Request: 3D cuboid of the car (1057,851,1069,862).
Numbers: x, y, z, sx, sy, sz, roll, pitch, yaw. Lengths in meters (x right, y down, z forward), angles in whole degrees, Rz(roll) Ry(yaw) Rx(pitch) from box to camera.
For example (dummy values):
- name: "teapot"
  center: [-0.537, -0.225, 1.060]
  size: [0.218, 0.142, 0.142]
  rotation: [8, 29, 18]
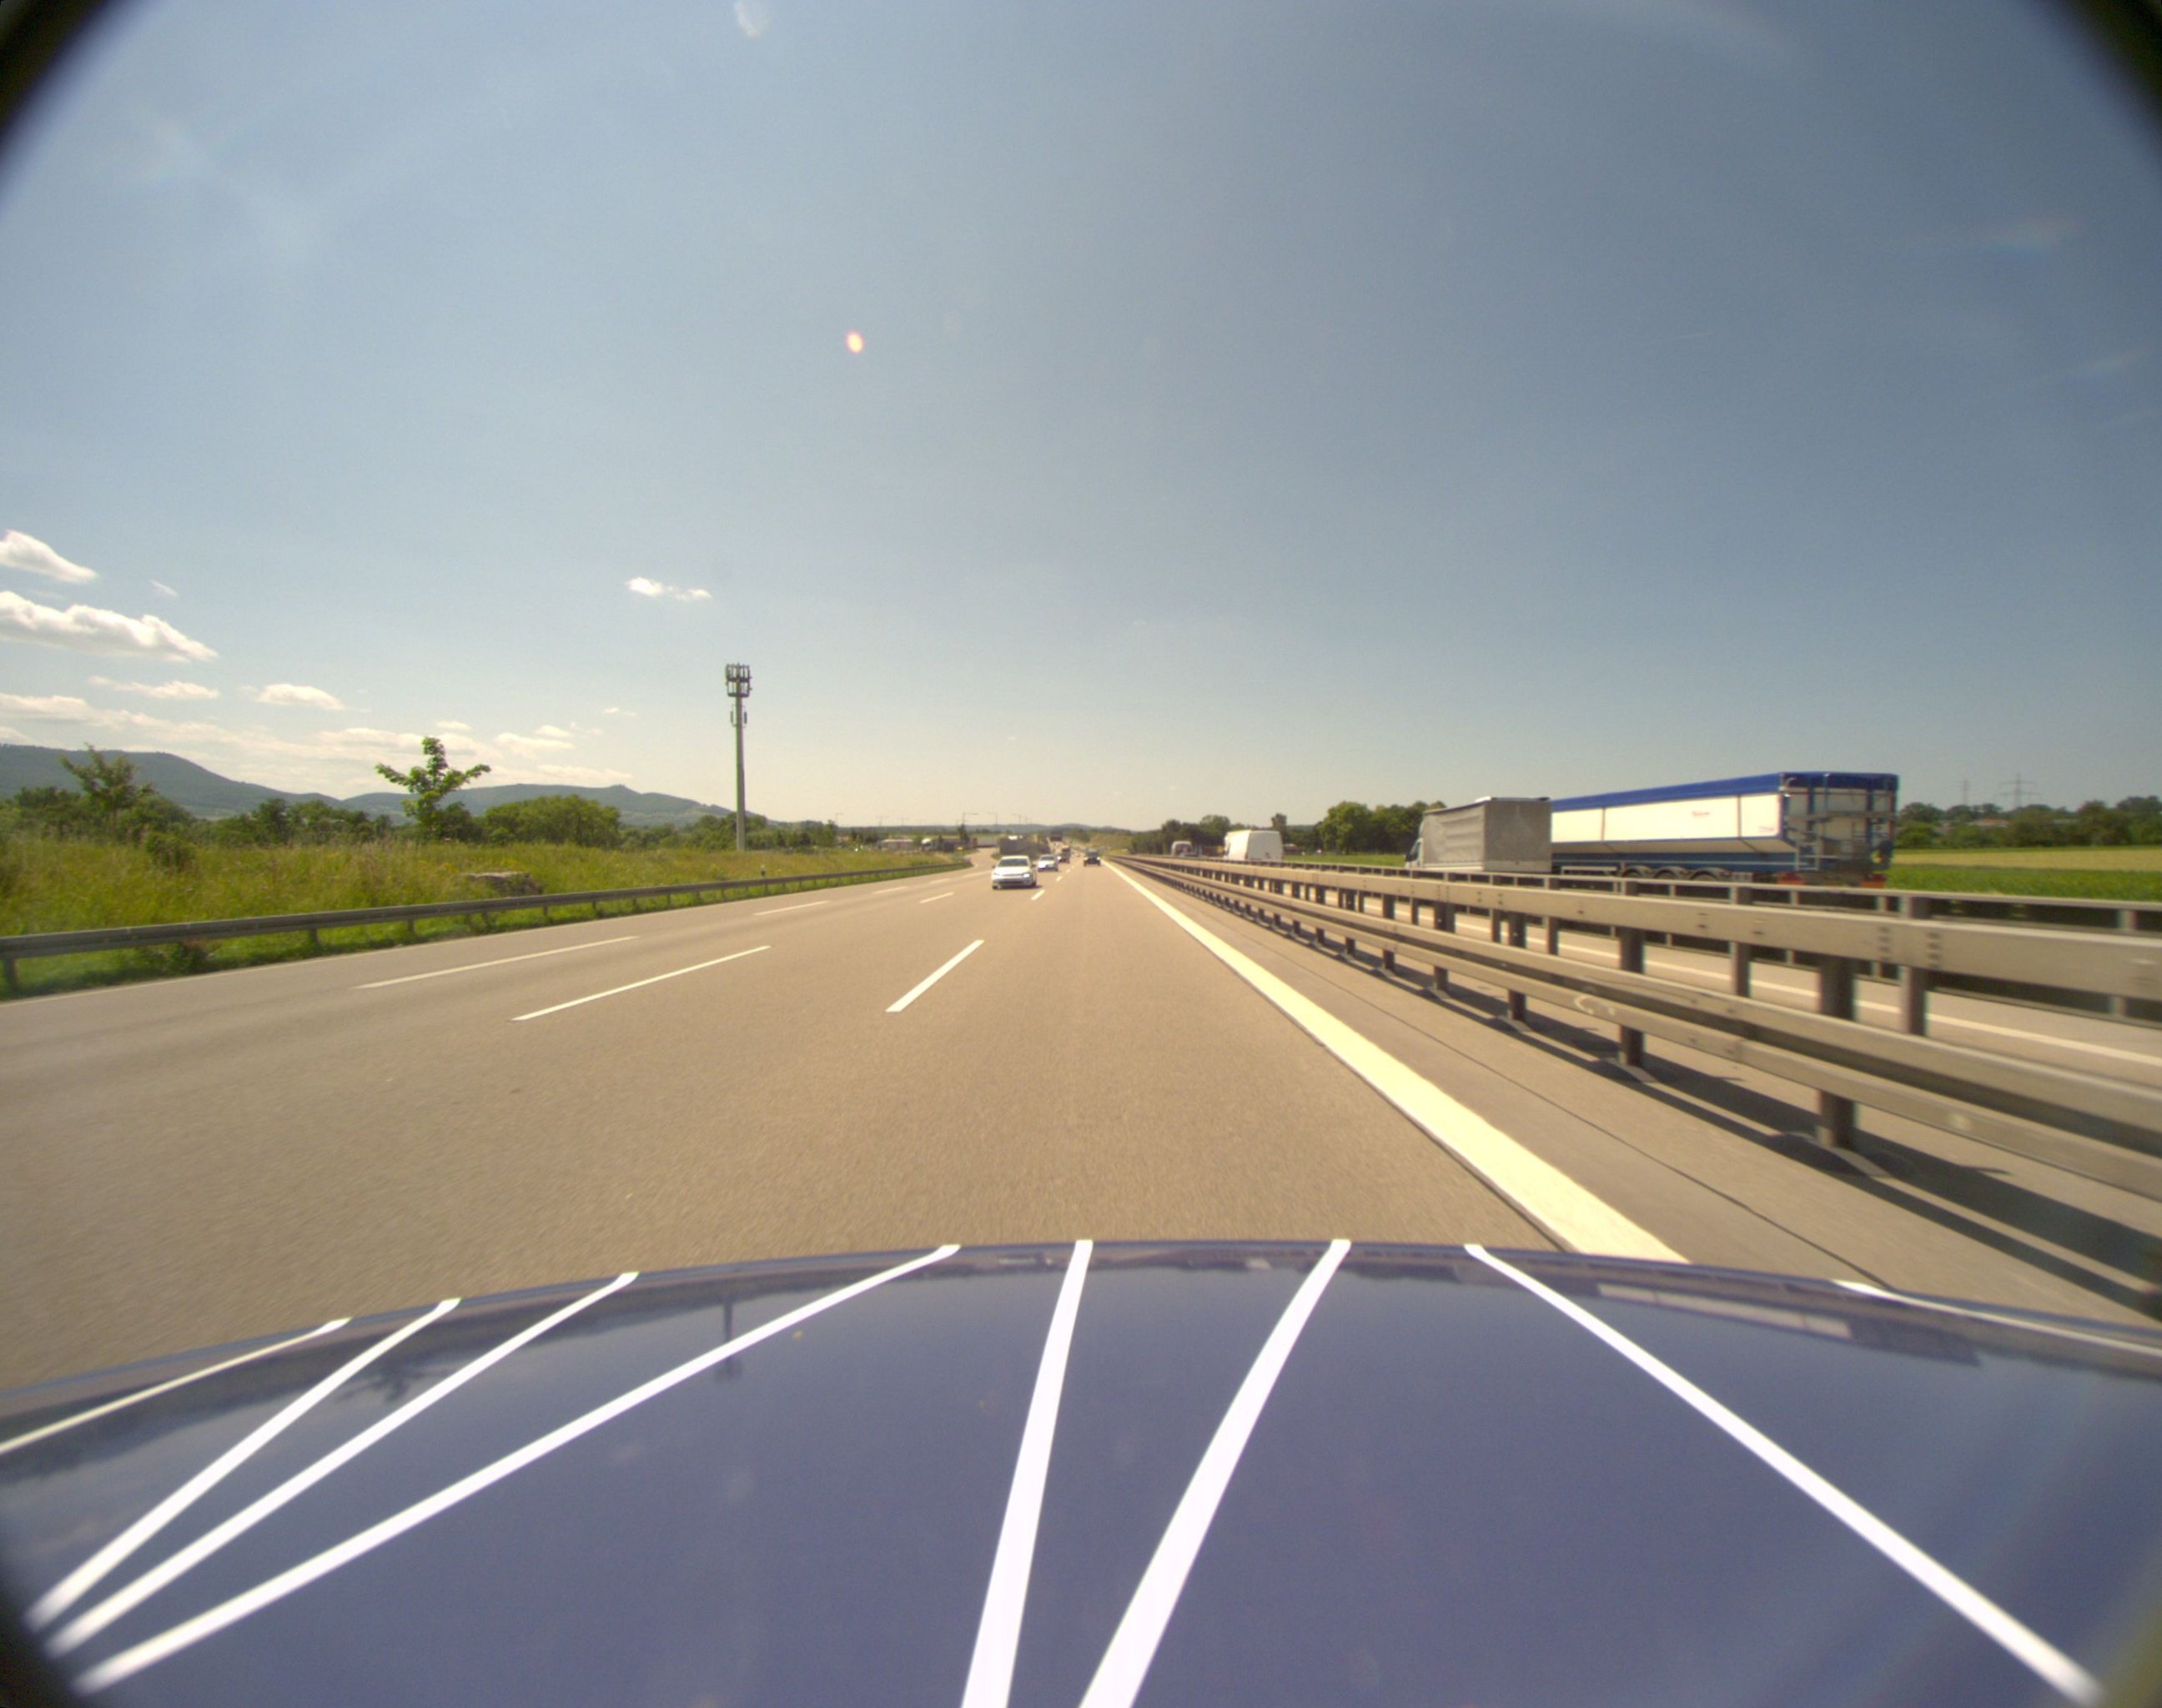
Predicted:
- name: "car"
  center: [-2.578, 0.345, 109.958]
  size: [1.751, 1.559, 3.999]
  rotation: [-2, 1, -1]

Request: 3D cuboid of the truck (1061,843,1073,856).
- name: "truck"
  center: [-4.788, -1.517, 251.386]
  size: [3.368, 4.037, 11.732]
  rotation: [-2, 1, -3]

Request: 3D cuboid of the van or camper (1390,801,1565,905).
- name: "van or camper"
  center: [13.481, -0.060, 26.643]
  size: [2.346, 3.147, 7.401]
  rotation: [0, 1, 1]

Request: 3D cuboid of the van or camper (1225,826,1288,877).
- name: "van or camper"
  center: [9.700, -0.184, 42.435]
  size: [2.128, 2.560, 6.121]
  rotation: [-2, 1, 1]

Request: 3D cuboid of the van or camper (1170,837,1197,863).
- name: "van or camper"
  center: [11.427, -0.506, 85.141]
  size: [2.163, 2.719, 7.294]
  rotation: [-2, 1, 1]

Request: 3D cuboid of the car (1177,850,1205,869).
- name: "car"
  center: [9.882, 0.447, 68.620]
  size: [1.772, 1.413, 4.933]
  rotation: [8, 1, 1]

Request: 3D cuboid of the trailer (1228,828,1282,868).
- name: "trailer"
  center: [18.712, -0.720, 82.554]
  size: [2.965, 3.895, 12.892]
  rotation: [-2, 1, 1]

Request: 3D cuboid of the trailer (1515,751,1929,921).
- name: "trailer"
  center: [17.506, -0.472, 22.572]
  size: [2.714, 3.671, 11.357]
  rotation: [-2, 1, 0]

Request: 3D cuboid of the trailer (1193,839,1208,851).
- name: "trailer"
  center: [39.833, -2.936, 253.738]
  size: [2.775, 3.757, 14.409]
  rotation: [-2, 1, 0]

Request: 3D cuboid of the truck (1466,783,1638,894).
- name: "truck"
  center: [17.551, -0.566, 28.850]
  size: [2.725, 3.669, 6.055]
  rotation: [-2, 1, 0]

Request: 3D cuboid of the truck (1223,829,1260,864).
- name: "truck"
  center: [18.812, -0.858, 89.535]
  size: [2.946, 3.908, 6.476]
  rotation: [-2, 1, 1]

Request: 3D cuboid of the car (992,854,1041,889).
- name: "car"
  center: [-2.911, 0.765, 35.276]
  size: [1.780, 1.425, 4.690]
  rotation: [-2, 1, 0]

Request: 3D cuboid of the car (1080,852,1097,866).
- name: "car"
  center: [0.831, 0.525, 84.459]
  size: [1.751, 1.439, 3.999]
  rotation: [-2, 0, -1]

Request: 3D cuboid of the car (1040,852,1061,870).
- name: "car"
  center: [-2.530, 0.604, 64.560]
  size: [1.634, 1.381, 3.999]
  rotation: [-2, 1, -1]

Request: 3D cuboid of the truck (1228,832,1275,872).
- name: "truck"
  center: [13.803, -0.186, 62.046]
  size: [2.255, 2.992, 7.427]
  rotation: [1, 1, 1]
